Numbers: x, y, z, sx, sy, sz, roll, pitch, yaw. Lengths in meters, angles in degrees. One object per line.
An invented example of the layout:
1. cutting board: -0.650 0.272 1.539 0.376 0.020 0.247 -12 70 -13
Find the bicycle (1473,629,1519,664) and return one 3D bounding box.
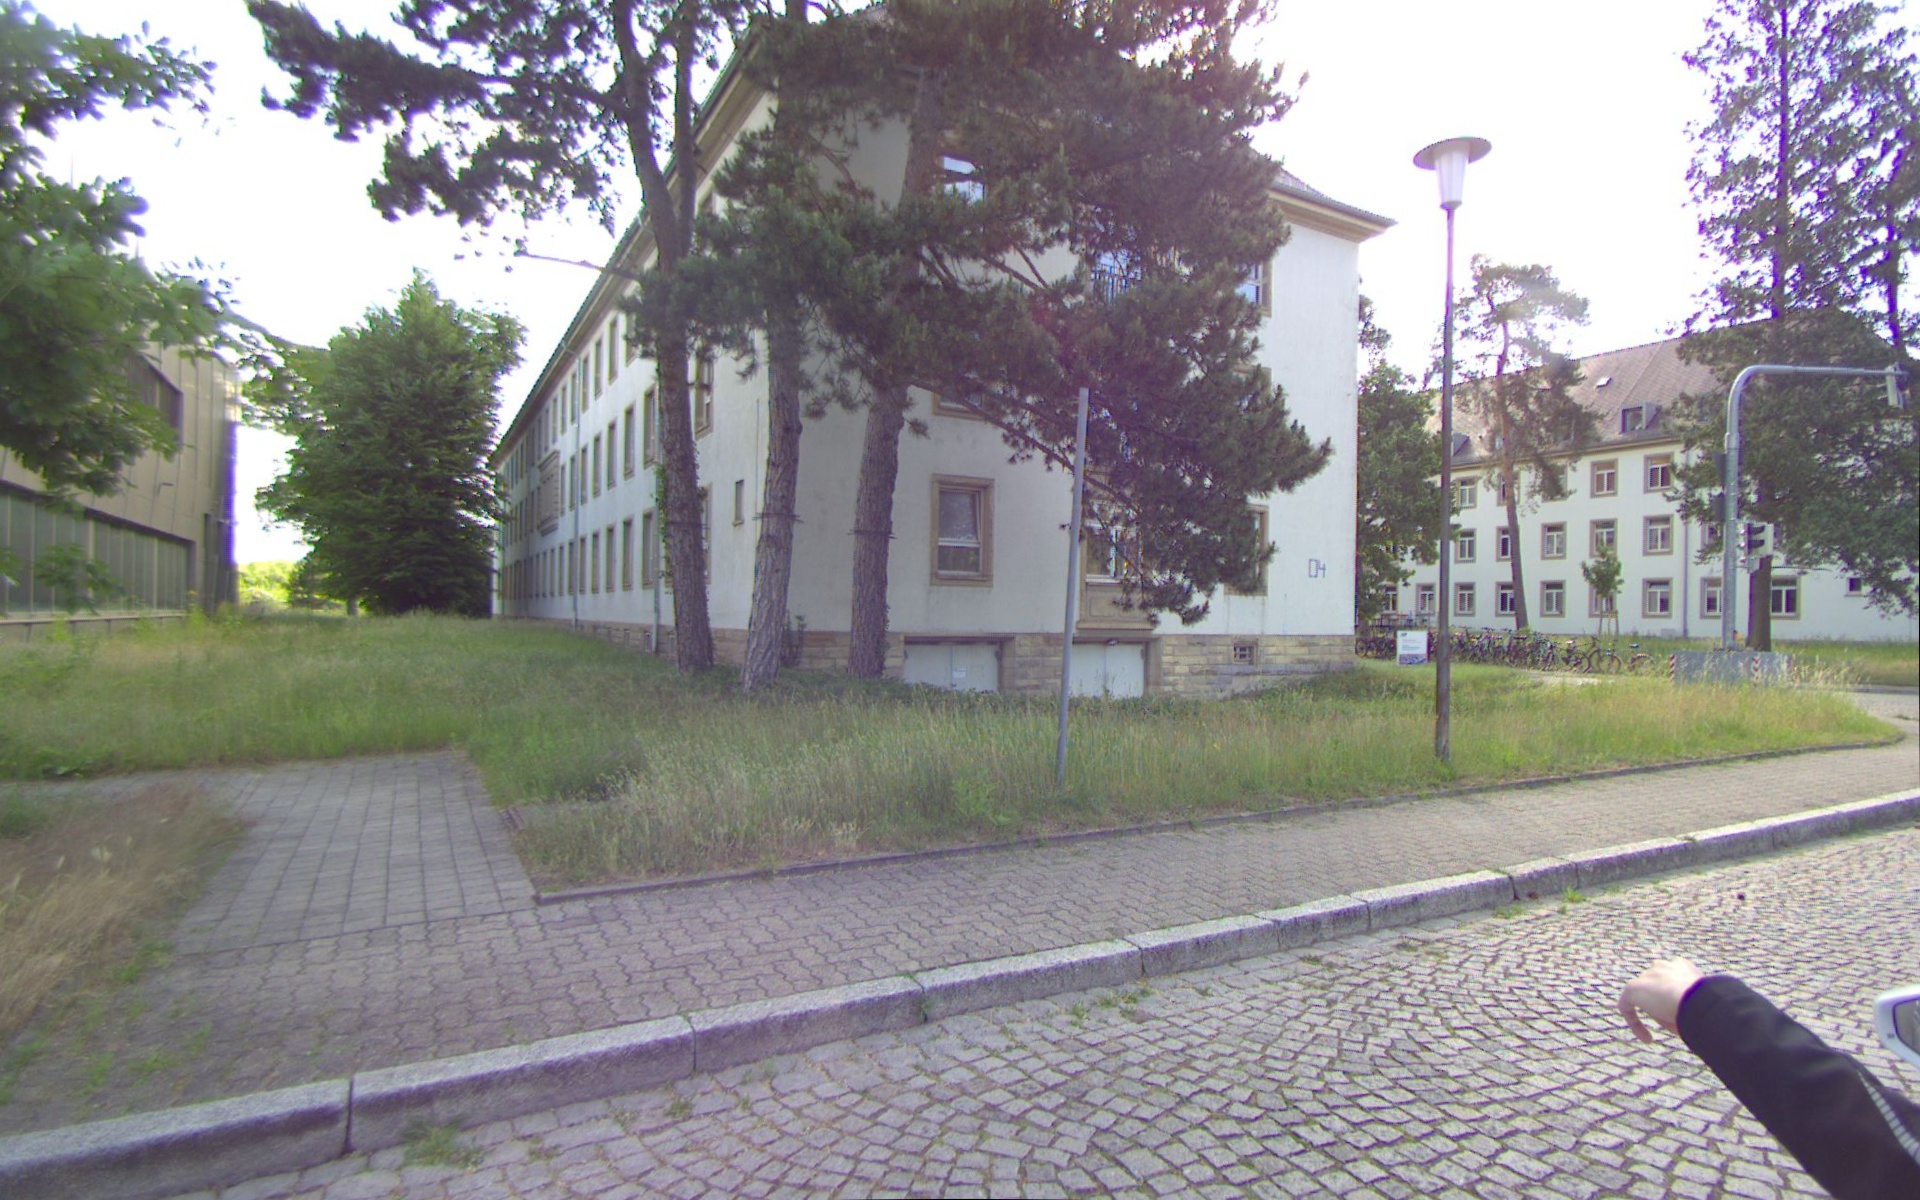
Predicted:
1. bicycle: 19.289 1.660 36.125 1.992 1.237 0.511 1 -1 -31

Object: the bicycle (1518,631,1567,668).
1. bicycle: 19.952 1.680 34.389 1.966 1.237 0.569 1 -1 -31

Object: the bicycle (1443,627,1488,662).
1. bicycle: 18.673 1.638 37.112 1.954 1.237 0.511 1 -1 -31

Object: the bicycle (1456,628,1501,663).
1. bicycle: 18.932 1.650 36.665 1.954 1.237 0.511 1 -1 -31

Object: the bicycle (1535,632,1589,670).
1. bicycle: 20.043 1.684 33.449 2.080 1.237 0.630 1 -1 -31

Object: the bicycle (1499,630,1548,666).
1. bicycle: 19.696 1.674 35.105 2.005 1.237 0.576 1 -1 -31

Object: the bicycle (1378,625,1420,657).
1. bicycle: 17.293 1.595 39.578 1.915 1.237 0.511 1 -1 -31

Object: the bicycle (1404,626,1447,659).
1. bicycle: 17.877 1.612 38.528 1.915 1.237 0.511 1 -1 -31

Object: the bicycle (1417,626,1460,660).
1. bicycle: 18.125 1.619 38.041 1.915 1.237 0.511 1 -1 -31

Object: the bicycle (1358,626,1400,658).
1. bicycle: 16.857 1.675 40.357 1.915 1.237 0.511 1 -1 -31

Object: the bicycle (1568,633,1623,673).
1. bicycle: 20.577 1.698 32.504 2.090 1.237 0.630 1 -1 -31

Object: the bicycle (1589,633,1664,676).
1. bicycle: 20.549 1.656 31.025 0.627 1.237 1.853 1 -1 -29

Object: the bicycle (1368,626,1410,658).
1. bicycle: 17.067 1.681 39.983 1.915 1.237 0.511 1 -1 -31

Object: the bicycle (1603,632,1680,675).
1. bicycle: 21.206 1.650 31.296 0.627 1.237 1.936 1 -1 -29

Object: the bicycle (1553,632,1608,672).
1. bicycle: 20.333 1.692 32.920 2.099 1.237 0.630 1 -1 -31

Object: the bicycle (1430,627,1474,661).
1. bicycle: 18.388 1.627 37.553 1.931 1.237 0.511 1 -1 -31

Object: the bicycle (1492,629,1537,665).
1. bicycle: 19.774 1.672 35.817 1.878 1.237 0.545 1 -1 -31

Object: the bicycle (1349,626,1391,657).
1. bicycle: 16.643 1.669 40.750 1.915 1.237 0.511 1 -1 -31
